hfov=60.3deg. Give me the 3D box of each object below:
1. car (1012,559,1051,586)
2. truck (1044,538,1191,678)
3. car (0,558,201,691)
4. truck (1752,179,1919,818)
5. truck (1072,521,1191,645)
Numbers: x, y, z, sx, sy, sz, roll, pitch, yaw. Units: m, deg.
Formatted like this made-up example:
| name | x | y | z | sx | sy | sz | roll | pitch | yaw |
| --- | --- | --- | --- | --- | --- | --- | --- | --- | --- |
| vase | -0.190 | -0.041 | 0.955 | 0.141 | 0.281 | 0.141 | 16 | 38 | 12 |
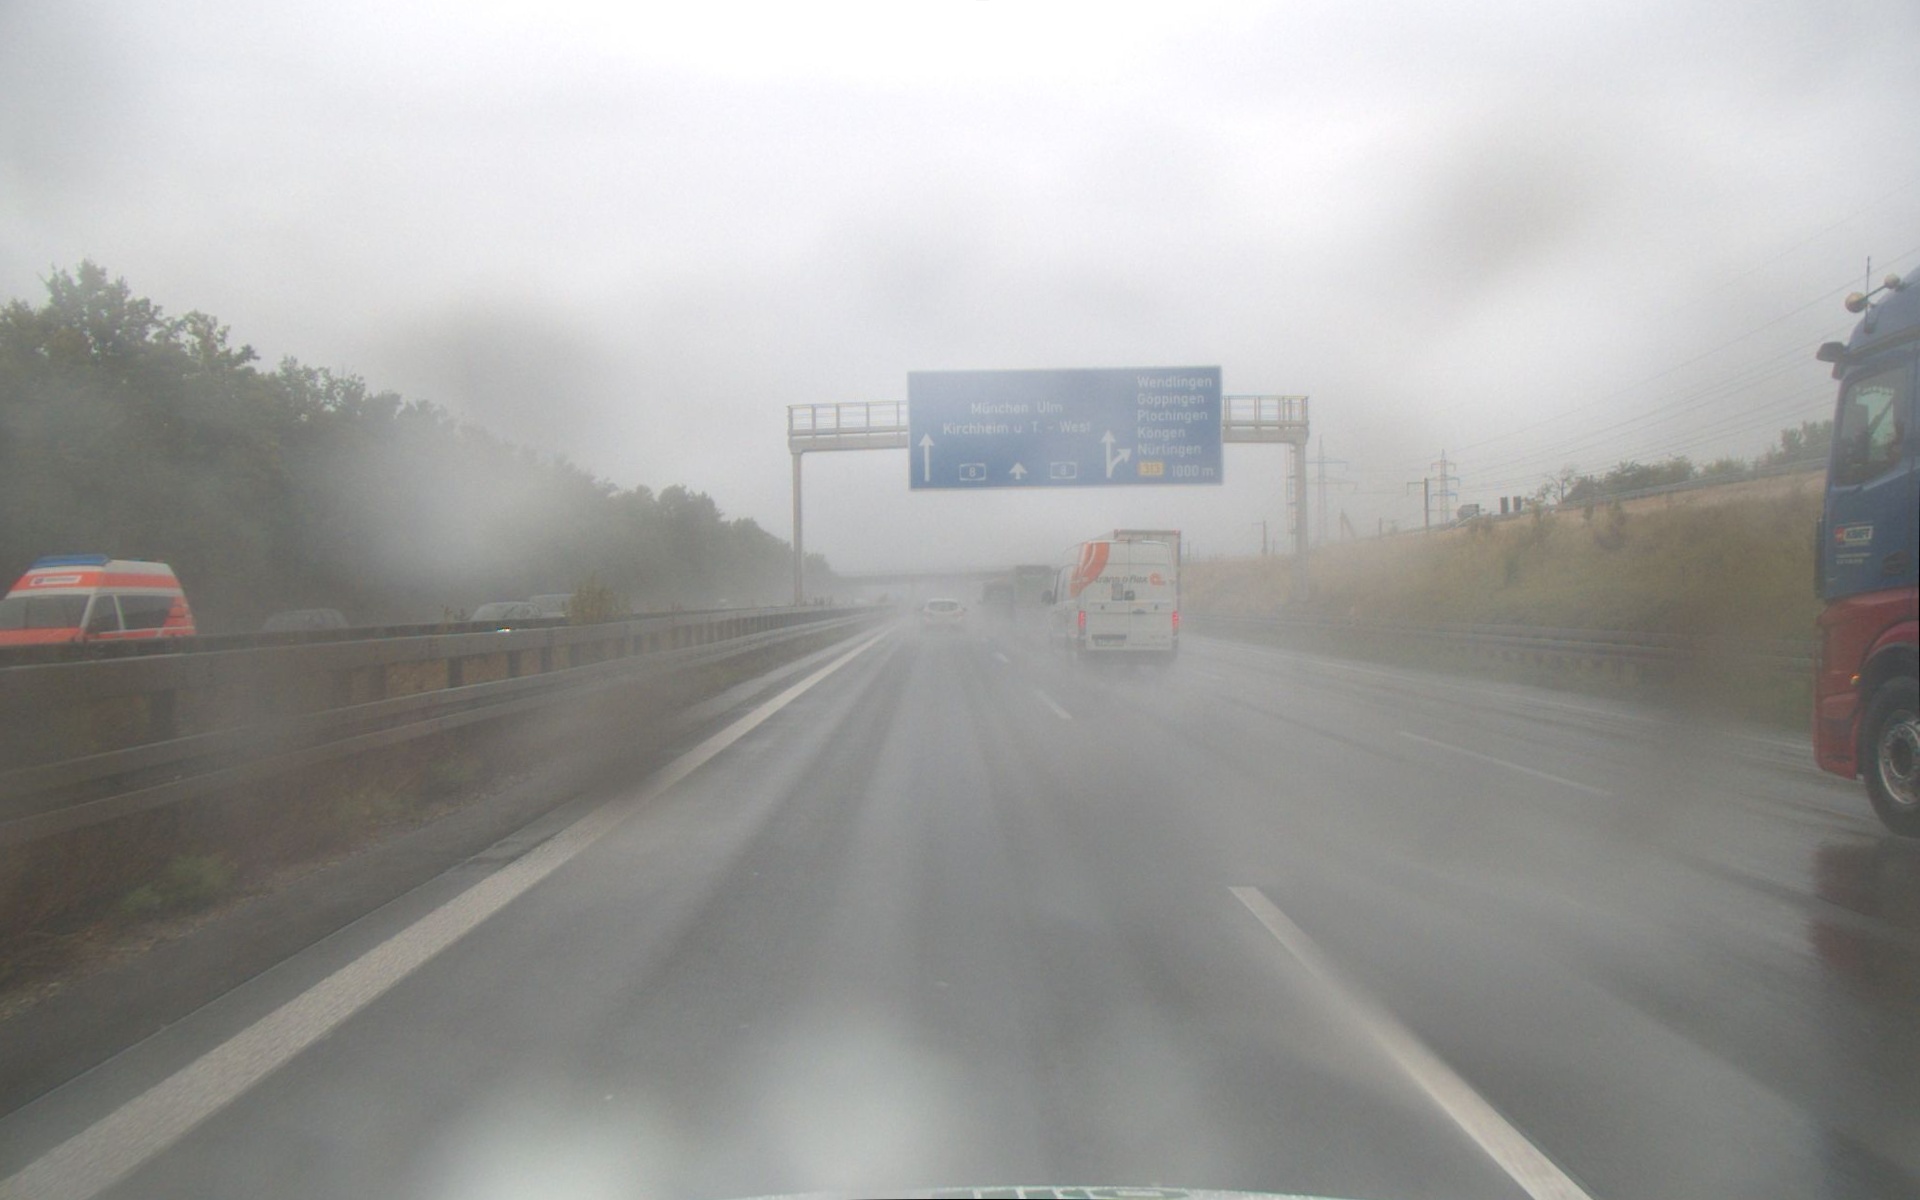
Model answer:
| name | x | y | z | sx | sy | sz | roll | pitch | yaw |
| --- | --- | --- | --- | --- | --- | --- | --- | --- | --- |
| car | 5.579 | -2.135 | 129.598 | 2.731 | 2.049 | 4.992 | 1 | 1 | -1 |
| truck | 3.014 | 0.098 | 32.942 | 2.370 | 2.536 | 5.560 | 1 | 1 | 0 |
| car | -14.752 | 0.321 | 27.639 | 1.953 | 2.020 | 5.013 | 1 | 1 | -2 |
| truck | 7.316 | -0.625 | 10.050 | 2.446 | 4.053 | 5.075 | 1 | 1 | -1 |
| truck | 7.066 | -0.652 | 71.024 | 2.978 | 4.668 | 16.346 | 1 | 0 | -1 |
